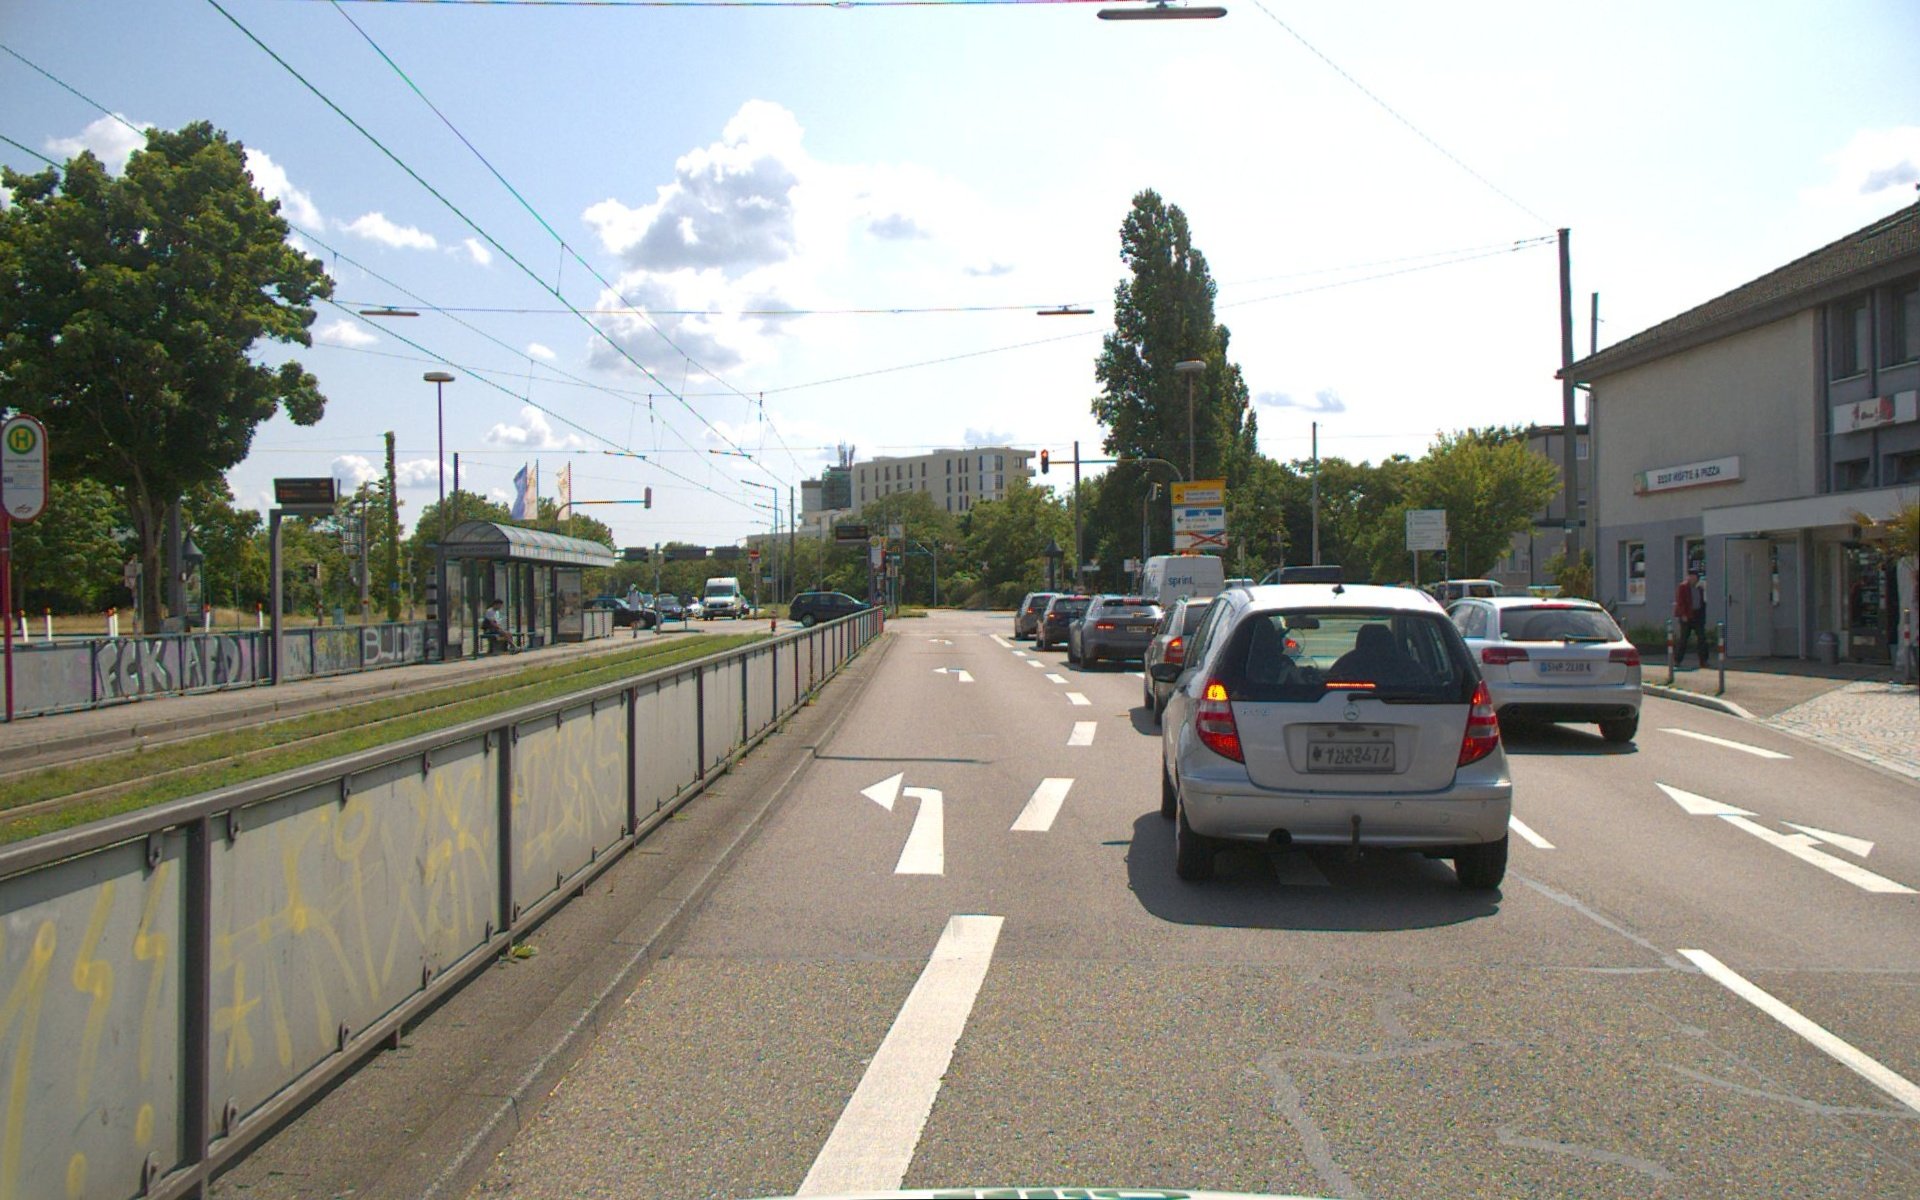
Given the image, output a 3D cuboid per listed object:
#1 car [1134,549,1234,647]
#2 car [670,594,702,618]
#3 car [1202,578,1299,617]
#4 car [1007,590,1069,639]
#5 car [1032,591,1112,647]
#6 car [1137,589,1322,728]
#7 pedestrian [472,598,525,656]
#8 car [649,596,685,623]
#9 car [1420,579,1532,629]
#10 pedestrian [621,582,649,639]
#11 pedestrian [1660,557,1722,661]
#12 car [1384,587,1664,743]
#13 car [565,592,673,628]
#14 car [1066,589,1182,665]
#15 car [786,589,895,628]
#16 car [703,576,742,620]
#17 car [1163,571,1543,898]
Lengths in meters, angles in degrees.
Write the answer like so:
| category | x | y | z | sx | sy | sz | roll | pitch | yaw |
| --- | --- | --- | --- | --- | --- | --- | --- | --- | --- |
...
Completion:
| category | x | y | z | sx | sy | sz | roll | pitch | yaw |
| --- | --- | --- | --- | --- | --- | --- | --- | --- | --- |
| car | 6.315 | -0.078 | 47.237 | 1.999 | 2.602 | 5.230 | -1 | 0 | -1 |
| car | -18.284 | 0.404 | 110.419 | 1.767 | 1.568 | 4.160 | 0 | 0 | -5 |
| car | 14.911 | -0.137 | 84.999 | 4.581 | 1.970 | 2.000 | -1 | 0 | -1 |
| car | 2.485 | 0.432 | 53.646 | 1.709 | 1.525 | 4.378 | 0 | 0 | -1 |
| car | 2.986 | 0.477 | 44.777 | 1.831 | 1.444 | 4.099 | 0 | 0 | -1 |
| car | 3.192 | 0.624 | 20.389 | 1.702 | 1.518 | 4.631 | 0 | 0 | 2 |
| pedestrian | -11.232 | 0.647 | 40.255 | 1.037 | 1.400 | 0.860 | 0 | 0 | -1 |
| car | -18.017 | 0.577 | 101.804 | 1.859 | 1.568 | 3.725 | 0 | 0 | -5 |
| car | 19.307 | 0.137 | 61.876 | 4.045 | 1.761 | 1.869 | -1 | -2 | -34 |
| pedestrian | -10.615 | 0.349 | 54.058 | 0.791 | 1.826 | 0.708 | -1 | 0 | -4 |
| pedestrian | 13.089 | 0.157 | 29.619 | 0.707 | 1.813 | 0.703 | -3 | 0 | 1 |
| car | 6.114 | 0.624 | 18.496 | 1.815 | 1.518 | 4.538 | 0 | 0 | 3 |
| car | -15.071 | 0.449 | 73.243 | 4.368 | 1.540 | 2.000 | 0 | 0 | 0 |
| car | 3.329 | 0.504 | 34.492 | 1.849 | 1.473 | 4.827 | 0 | 0 | -1 |
| car | -5.327 | 0.358 | 73.843 | 4.576 | 1.576 | 2.001 | -1 | 0 | 4 |
| car | -14.718 | -0.112 | 102.509 | 1.954 | 2.651 | 4.875 | 0 | 0 | -3 |
| car | 2.186 | 0.655 | 10.234 | 1.749 | 1.604 | 4.097 | -1 | 0 | 6 |
